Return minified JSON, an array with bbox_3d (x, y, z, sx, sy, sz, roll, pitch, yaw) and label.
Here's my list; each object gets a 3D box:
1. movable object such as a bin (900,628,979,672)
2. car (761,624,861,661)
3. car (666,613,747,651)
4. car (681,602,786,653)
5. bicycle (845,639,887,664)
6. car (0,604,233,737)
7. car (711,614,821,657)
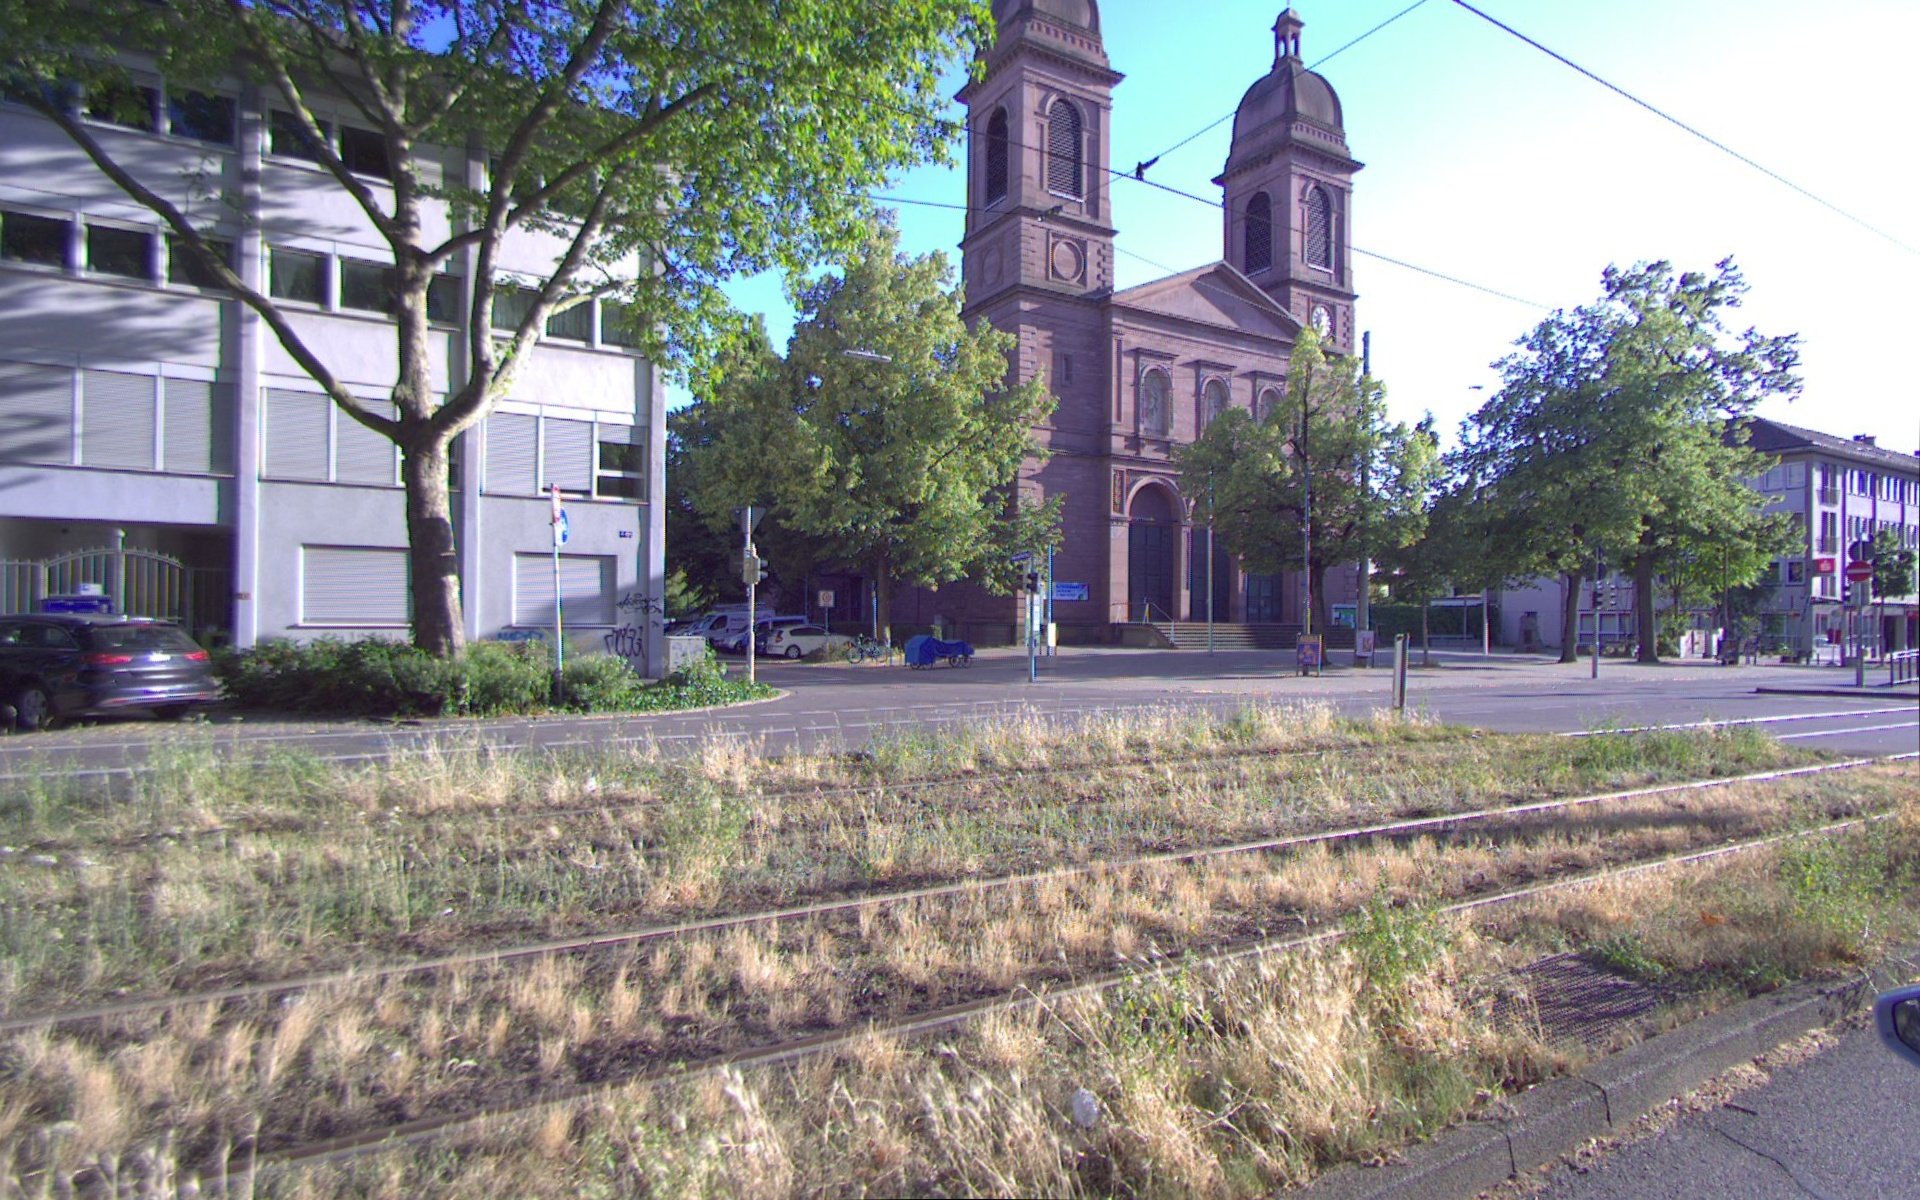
[{"bbox_3d":[-0.699,1.662,33.821,2.416,1.228,1.102,-3,3,-30],"label":"movable object such as a bin"},{"bbox_3d":[-6.678,1.884,44.986,3.953,1.479,1.984,2,1,-30],"label":"car"},{"bbox_3d":[-14.760,1.857,58.504,4.173,2.040,1.982,2,1,-33],"label":"car"},{"bbox_3d":[-12.649,1.543,56.324,5.381,2.710,1.980,2,1,-35],"label":"car"},{"bbox_3d":[-3.572,1.943,38.099,1.517,0.904,0.465,2,1,-26],"label":"bicycle"},{"bbox_3d":[-12.451,0.889,13.961,3.920,1.499,1.818,2,1,18],"label":"car"},{"bbox_3d":[-9.918,1.812,51.509,5.120,2.040,1.982,2,1,-33],"label":"car"}]
